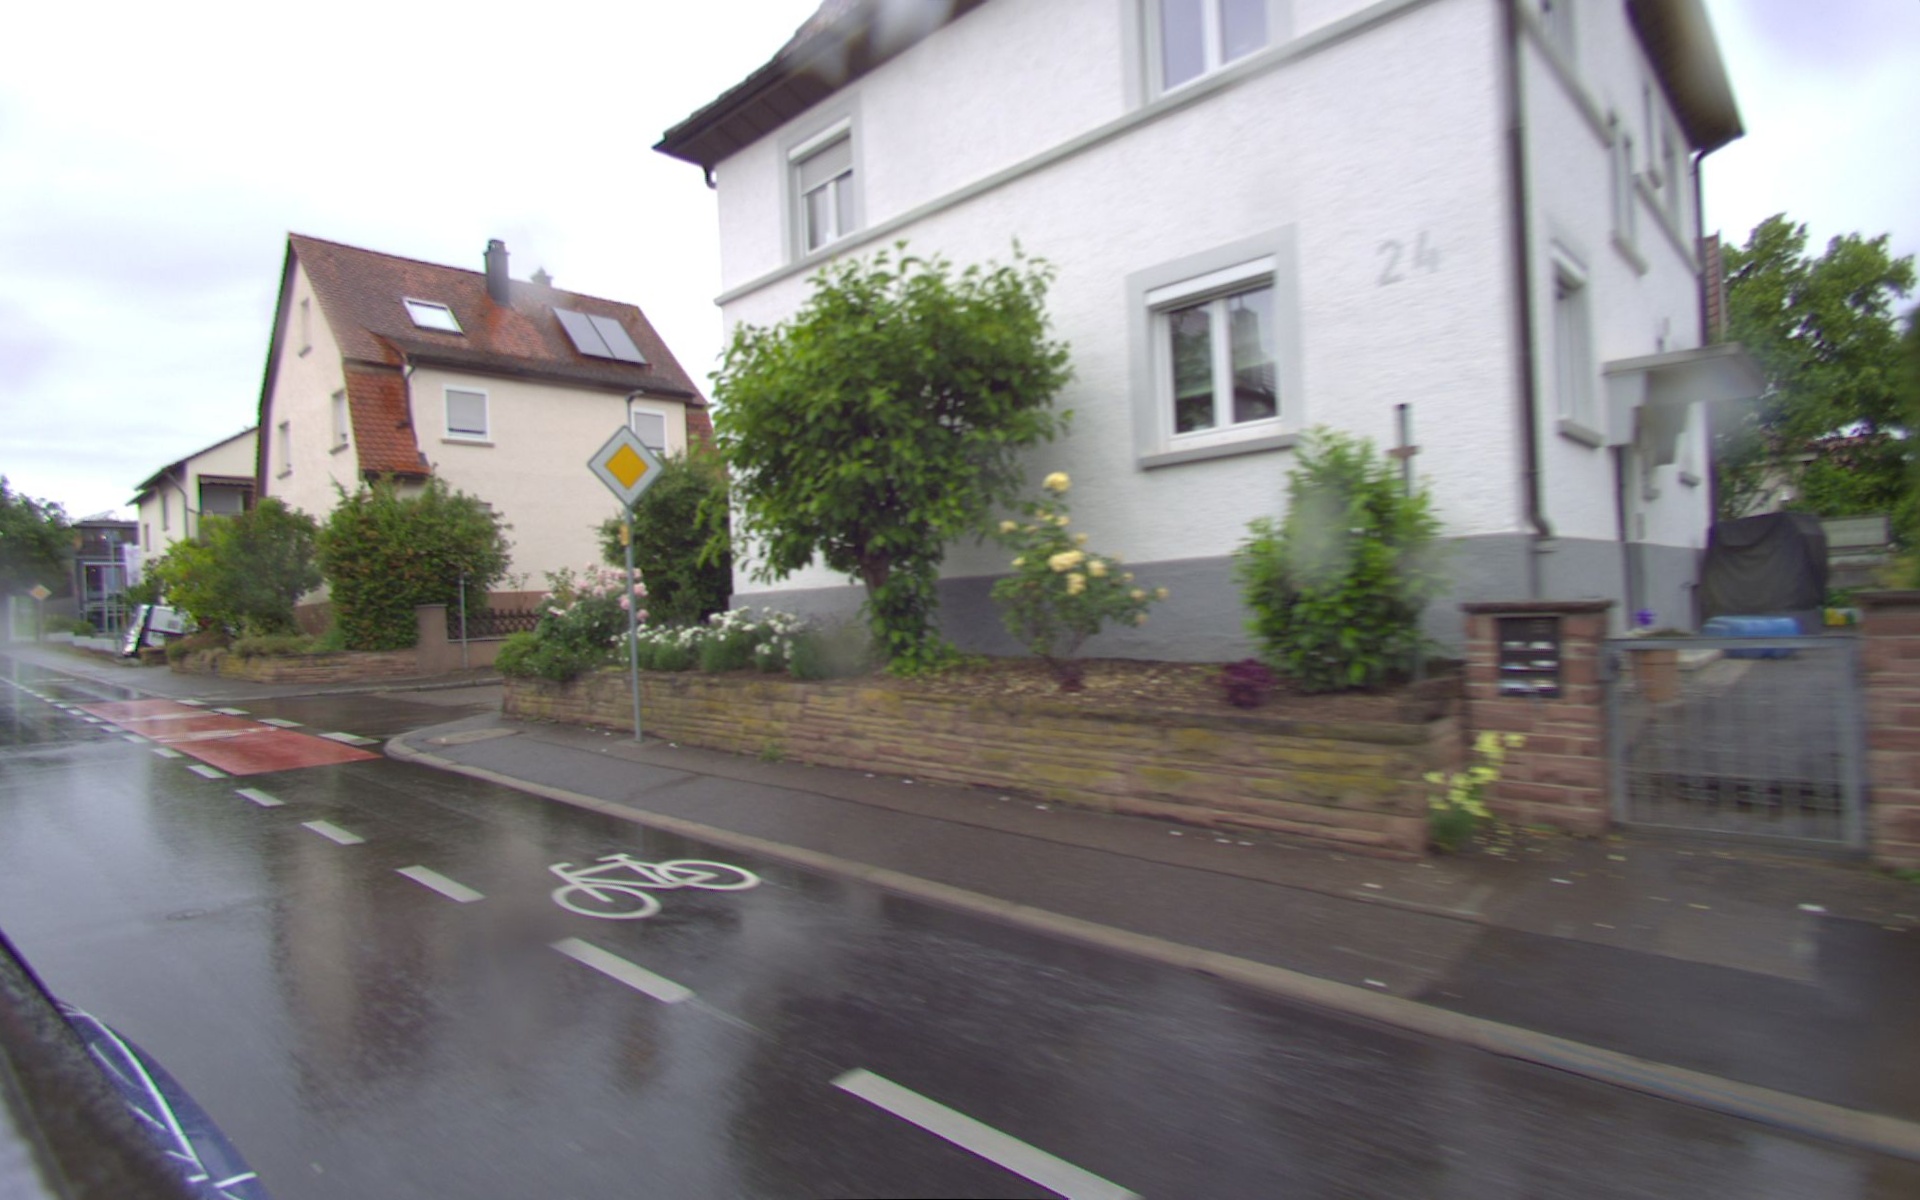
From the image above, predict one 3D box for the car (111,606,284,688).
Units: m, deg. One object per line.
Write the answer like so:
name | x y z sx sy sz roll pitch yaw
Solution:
car | -24.898 1.587 33.171 1.872 1.990 3.948 -2 -13 40
